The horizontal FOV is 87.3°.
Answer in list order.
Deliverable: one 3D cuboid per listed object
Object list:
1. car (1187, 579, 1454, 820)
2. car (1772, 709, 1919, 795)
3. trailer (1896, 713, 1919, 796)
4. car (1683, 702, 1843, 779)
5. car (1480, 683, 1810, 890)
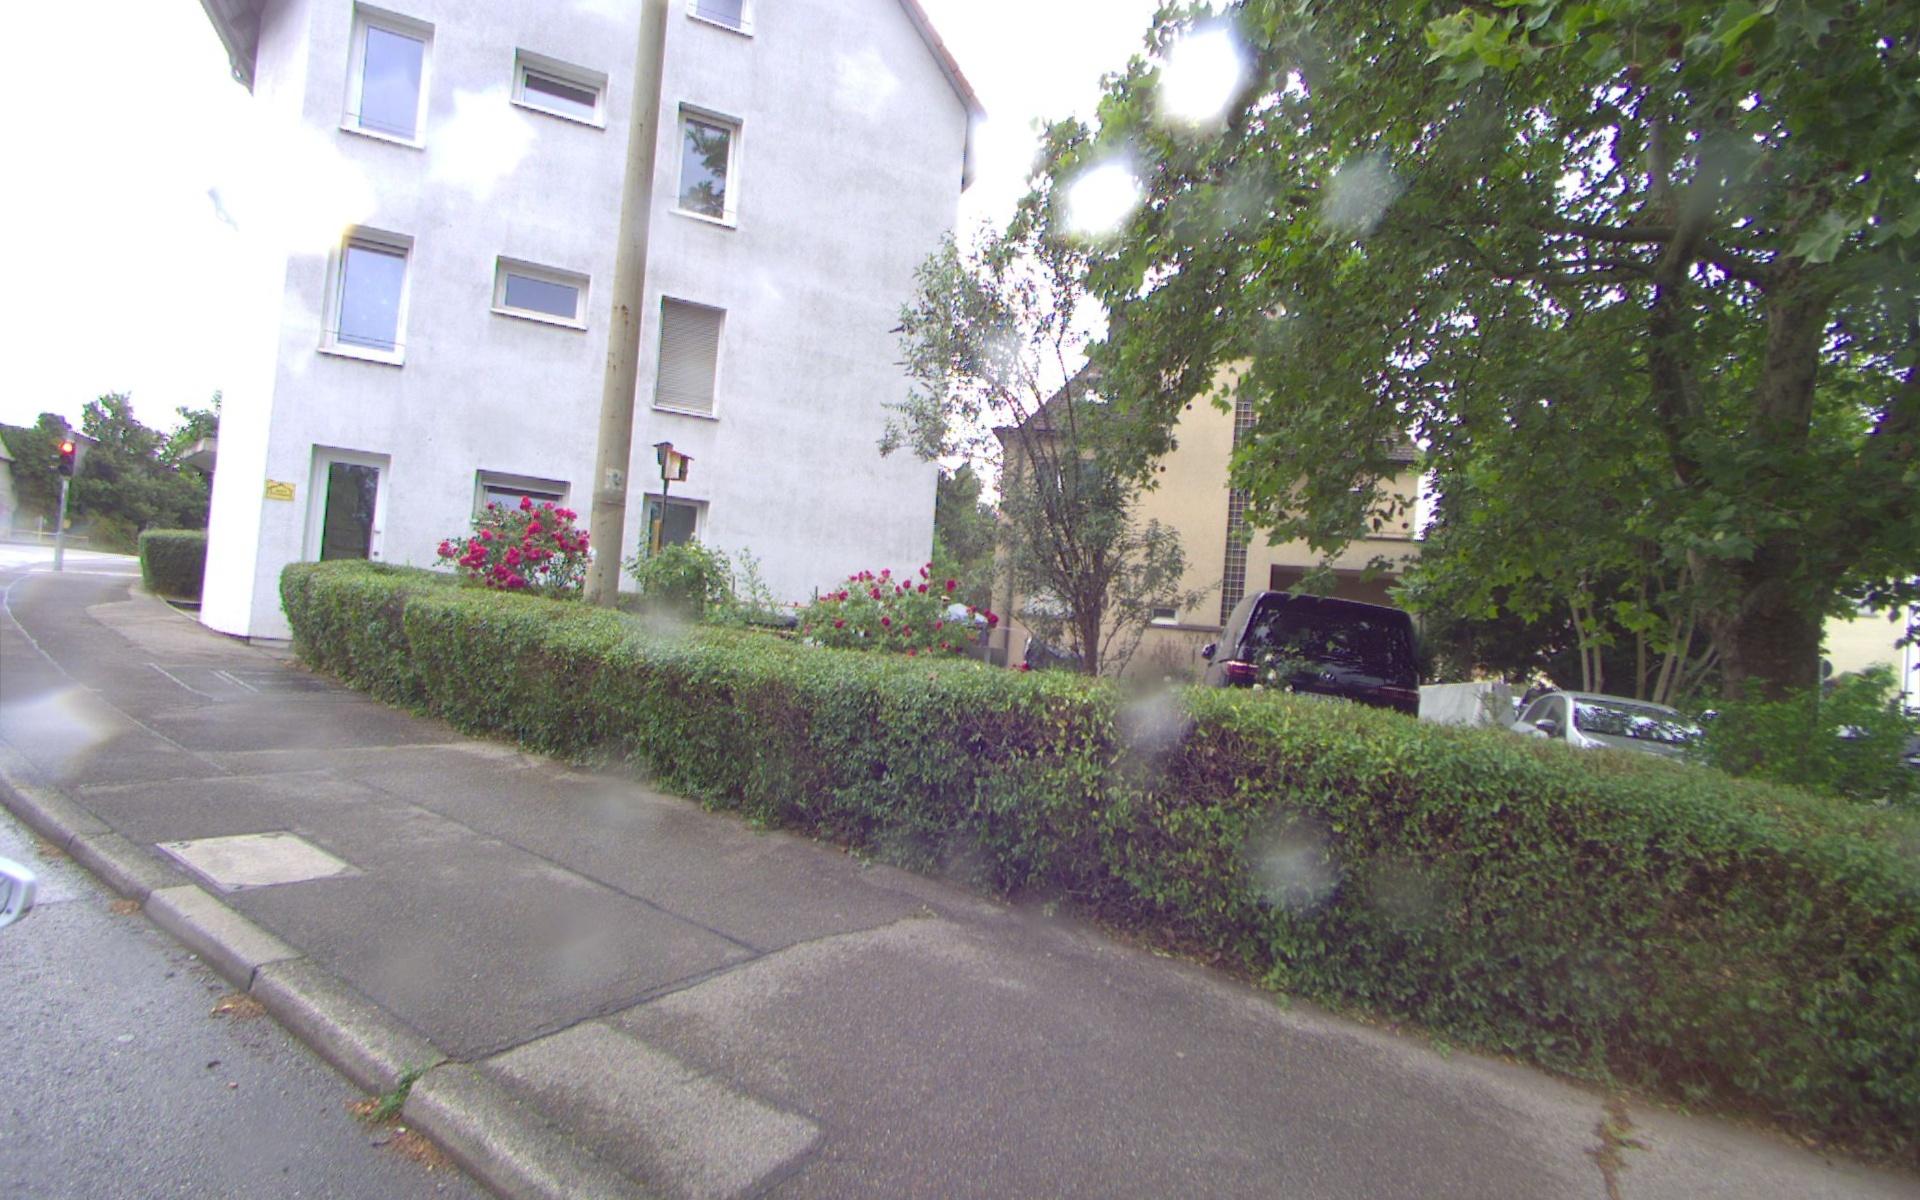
[{"bbox_3d":[3.747,0.993,11.314,1.962,1.955,4.419,6,-1,11],"label":"car"},{"bbox_3d":[25.255,4.212,27.995,1.962,1.861,4.584,6,-2,9],"label":"car"},{"bbox_3d":[24.710,3.923,23.982,1.640,2.037,3.494,6,-1,8],"label":"trailer"},{"bbox_3d":[26.340,4.553,33.240,1.962,1.861,4.584,6,-2,9],"label":"car"},{"bbox_3d":[7.375,1.881,11.357,1.788,1.599,4.003,6,-2,16],"label":"car"}]
